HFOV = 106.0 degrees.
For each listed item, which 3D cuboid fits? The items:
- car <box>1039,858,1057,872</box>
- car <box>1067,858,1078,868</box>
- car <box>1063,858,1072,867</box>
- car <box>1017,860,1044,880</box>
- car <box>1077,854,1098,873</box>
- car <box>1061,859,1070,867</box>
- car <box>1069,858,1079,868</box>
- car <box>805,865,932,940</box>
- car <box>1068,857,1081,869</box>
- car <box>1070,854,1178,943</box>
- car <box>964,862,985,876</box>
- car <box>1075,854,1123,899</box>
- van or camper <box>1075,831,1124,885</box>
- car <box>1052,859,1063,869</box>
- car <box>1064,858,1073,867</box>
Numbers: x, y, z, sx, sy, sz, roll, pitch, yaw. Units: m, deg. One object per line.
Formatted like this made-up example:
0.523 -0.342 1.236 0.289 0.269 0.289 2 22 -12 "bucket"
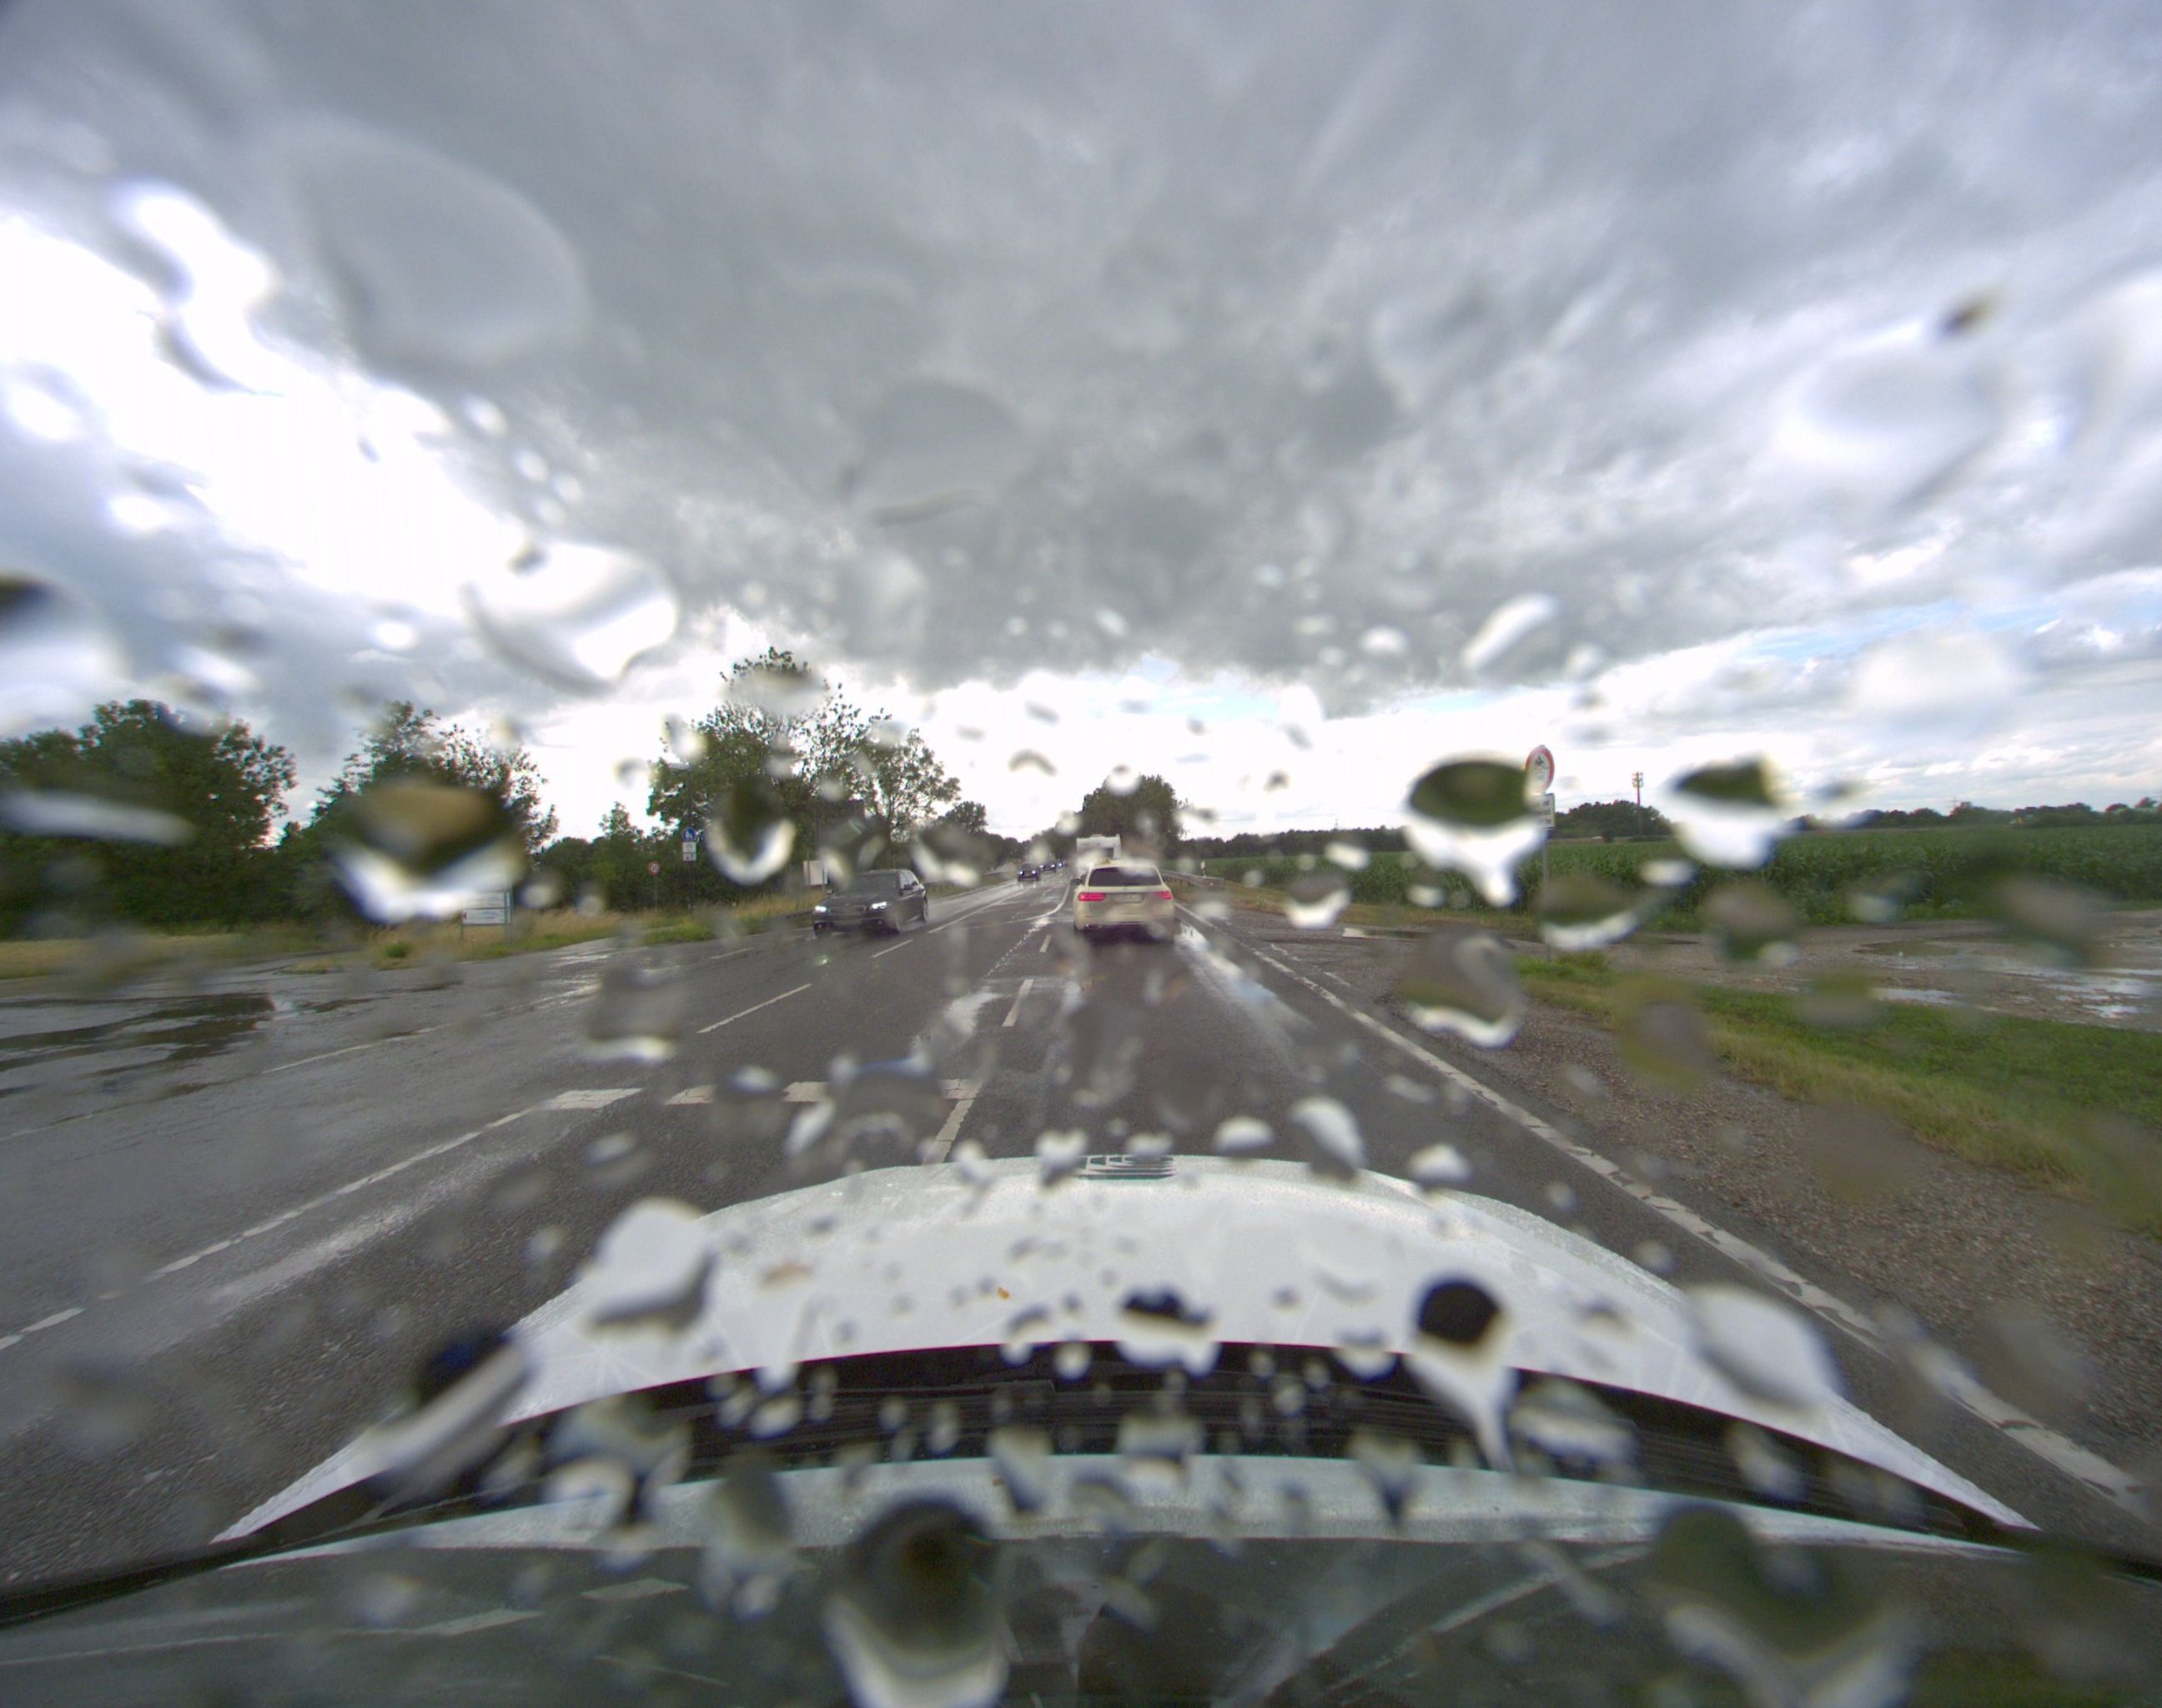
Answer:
-4.120 1.390 102.276 1.937 1.580 4.444 -2 0 1 "car"
-1.750 1.913 173.179 1.990 2.013 3.994 -2 0 -4 "car"
-3.223 2.093 195.776 1.987 2.051 3.999 -2 0 -1 "car"
-4.124 1.291 66.437 1.705 1.405 3.816 -3 0 3 "car"
0.774 1.150 101.124 2.241 2.199 5.408 -2 0 -2 "car"
-3.917 2.194 204.181 1.988 2.013 3.997 -2 0 -2 "car"
-1.397 1.775 162.333 1.989 2.013 3.996 -2 0 -2 "car"
-4.949 1.069 19.596 1.760 1.438 4.413 -4 0 0 "car"
-1.167 1.569 145.653 1.989 2.013 3.996 -2 0 -3 "car"
0.796 0.766 15.978 1.818 1.485 4.146 -1 0 2 "car"
-14.032 1.949 107.255 1.986 1.651 4.001 -3 0 2 "car"
0.665 0.800 30.896 1.622 1.529 3.932 -3 0 0 "car"
0.974 0.189 44.349 2.343 2.680 5.768 -2 0 0 "van or camper"
-4.133 1.788 144.069 1.762 1.523 4.142 -4 0 1 "car"
-2.852 2.019 188.417 1.987 2.013 3.999 -2 0 0 "car"
